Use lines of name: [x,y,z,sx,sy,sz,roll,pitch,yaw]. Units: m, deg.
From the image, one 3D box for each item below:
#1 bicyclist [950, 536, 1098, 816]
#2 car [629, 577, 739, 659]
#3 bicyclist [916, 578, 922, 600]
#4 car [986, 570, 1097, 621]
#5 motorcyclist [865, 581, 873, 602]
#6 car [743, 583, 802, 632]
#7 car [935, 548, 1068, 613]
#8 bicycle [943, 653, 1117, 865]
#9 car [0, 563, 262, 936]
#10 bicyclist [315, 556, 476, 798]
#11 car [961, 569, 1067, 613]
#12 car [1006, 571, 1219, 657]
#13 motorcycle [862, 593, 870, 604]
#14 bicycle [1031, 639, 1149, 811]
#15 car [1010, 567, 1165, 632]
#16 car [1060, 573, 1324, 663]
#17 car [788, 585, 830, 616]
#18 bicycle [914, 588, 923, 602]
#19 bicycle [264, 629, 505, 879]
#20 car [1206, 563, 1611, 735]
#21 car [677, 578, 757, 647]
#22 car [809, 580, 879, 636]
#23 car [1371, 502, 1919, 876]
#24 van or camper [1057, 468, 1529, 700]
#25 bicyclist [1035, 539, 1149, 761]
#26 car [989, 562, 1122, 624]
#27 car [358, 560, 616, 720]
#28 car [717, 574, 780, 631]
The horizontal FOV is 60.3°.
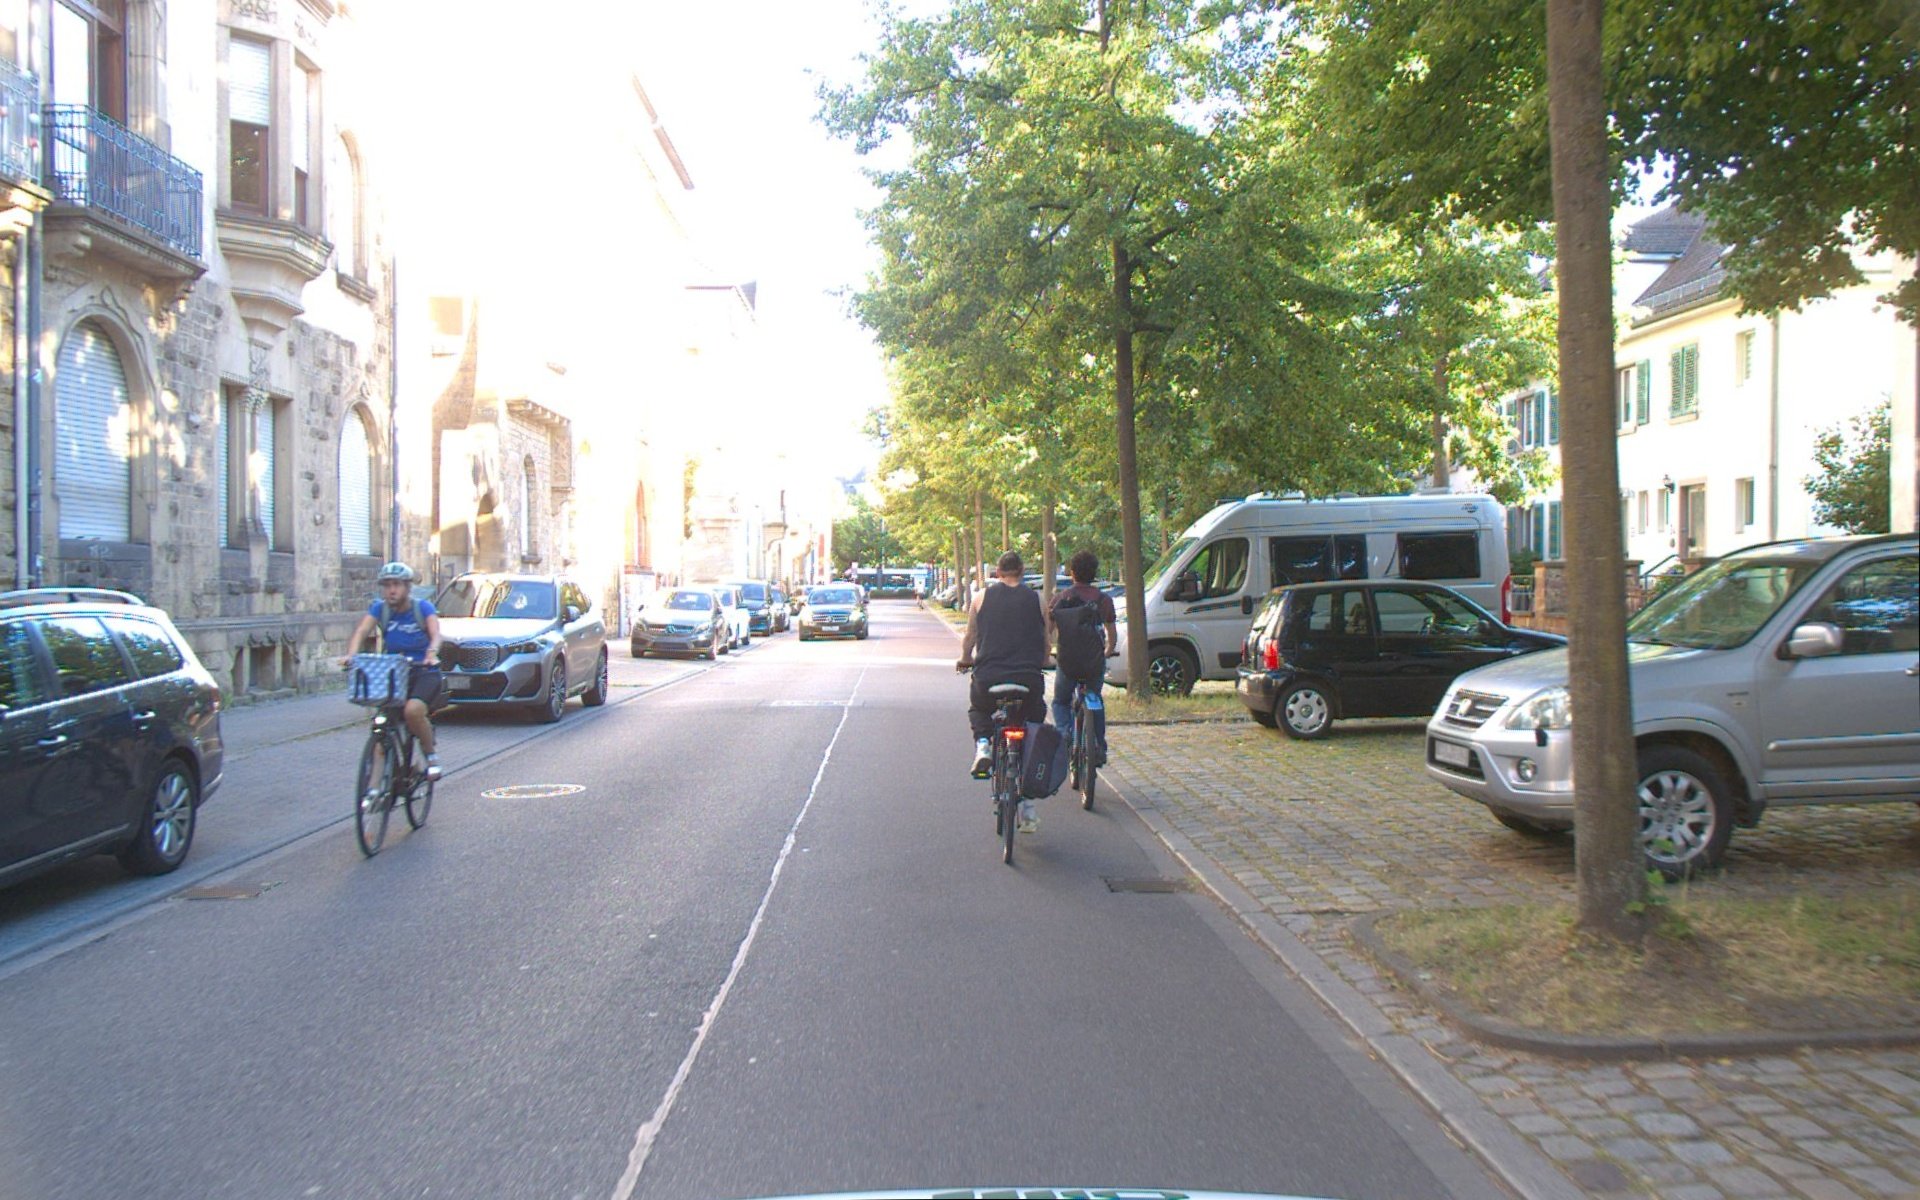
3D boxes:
bicyclist: [0.356,0.424,9.710,0.693,1.553,0.970,0,-1,-9]
car: [-5.869,0.362,35.584,1.720,1.543,4.113,4,0,-2]
bicyclist: [-2.544,-0.687,102.588,0.408,1.374,0.430,0,-1,-2]
car: [3.154,-0.162,64.302,4.157,1.828,1.854,-2,-1,-1]
motorcyclist: [-6.521,-0.600,118.456,0.540,1.474,0.687,-1,0,-5]
car: [-6.330,0.237,56.252,1.583,1.508,4.017,4,0,-2]
car: [2.244,-1.035,91.178,7.184,3.339,2.222,-2,-1,-1]
bicycle: [0.375,0.890,9.950,0.683,1.091,1.965,0,-1,-9]
car: [-4.975,0.650,7.472,1.694,1.602,4.707,0,-1,-1]
bicyclist: [-3.393,0.430,10.019,0.652,1.368,1.059,-1,1,-5]
car: [2.389,-0.387,74.467,4.660,1.811,1.854,-2,-1,-1]
car: [3.134,0.287,34.563,4.160,1.634,1.752,-2,-1,-5]
motorcycle: [-6.718,-0.109,118.306,0.540,0.815,1.307,-1,1,-4]
bicycle: [0.916,0.861,12.098,0.544,1.091,1.967,0,0,-5]
car: [3.549,0.003,46.464,4.157,1.676,1.854,-2,-1,-1]
car: [4.040,0.317,29.298,4.411,1.478,1.816,-1,0,-1]
car: [-7.477,0.042,82.200,1.954,1.512,3.997,0,-1,-3]
bicycle: [-2.559,-0.314,102.617,0.530,0.842,1.918,0,-1,-2]
bicycle: [-3.392,0.835,10.035,0.738,1.198,2.618,-1,1,-5]
car: [4.286,0.455,16.167,3.431,1.498,1.750,-1,-1,-3]
car: [-5.997,0.307,41.140,1.461,1.543,3.773,4,0,-2]
car: [-3.281,0.232,46.356,1.859,1.512,4.377,0,-1,-5]
car: [4.732,0.342,9.056,4.388,1.698,1.941,-3,1,-4]
van or camper: [4.149,-0.199,21.262,5.464,2.581,2.267,-3,-1,-4]
bicyclist: [0.948,0.353,12.079,0.704,1.553,0.971,0,-1,-3]
car: [3.077,-0.212,53.861,4.157,1.872,1.854,-2,-1,-1]
car: [-5.353,0.427,19.344,2.009,1.650,4.391,0,-1,-4]
car: [-6.426,0.093,50.590,1.598,1.694,3.966,0,-1,-3]
